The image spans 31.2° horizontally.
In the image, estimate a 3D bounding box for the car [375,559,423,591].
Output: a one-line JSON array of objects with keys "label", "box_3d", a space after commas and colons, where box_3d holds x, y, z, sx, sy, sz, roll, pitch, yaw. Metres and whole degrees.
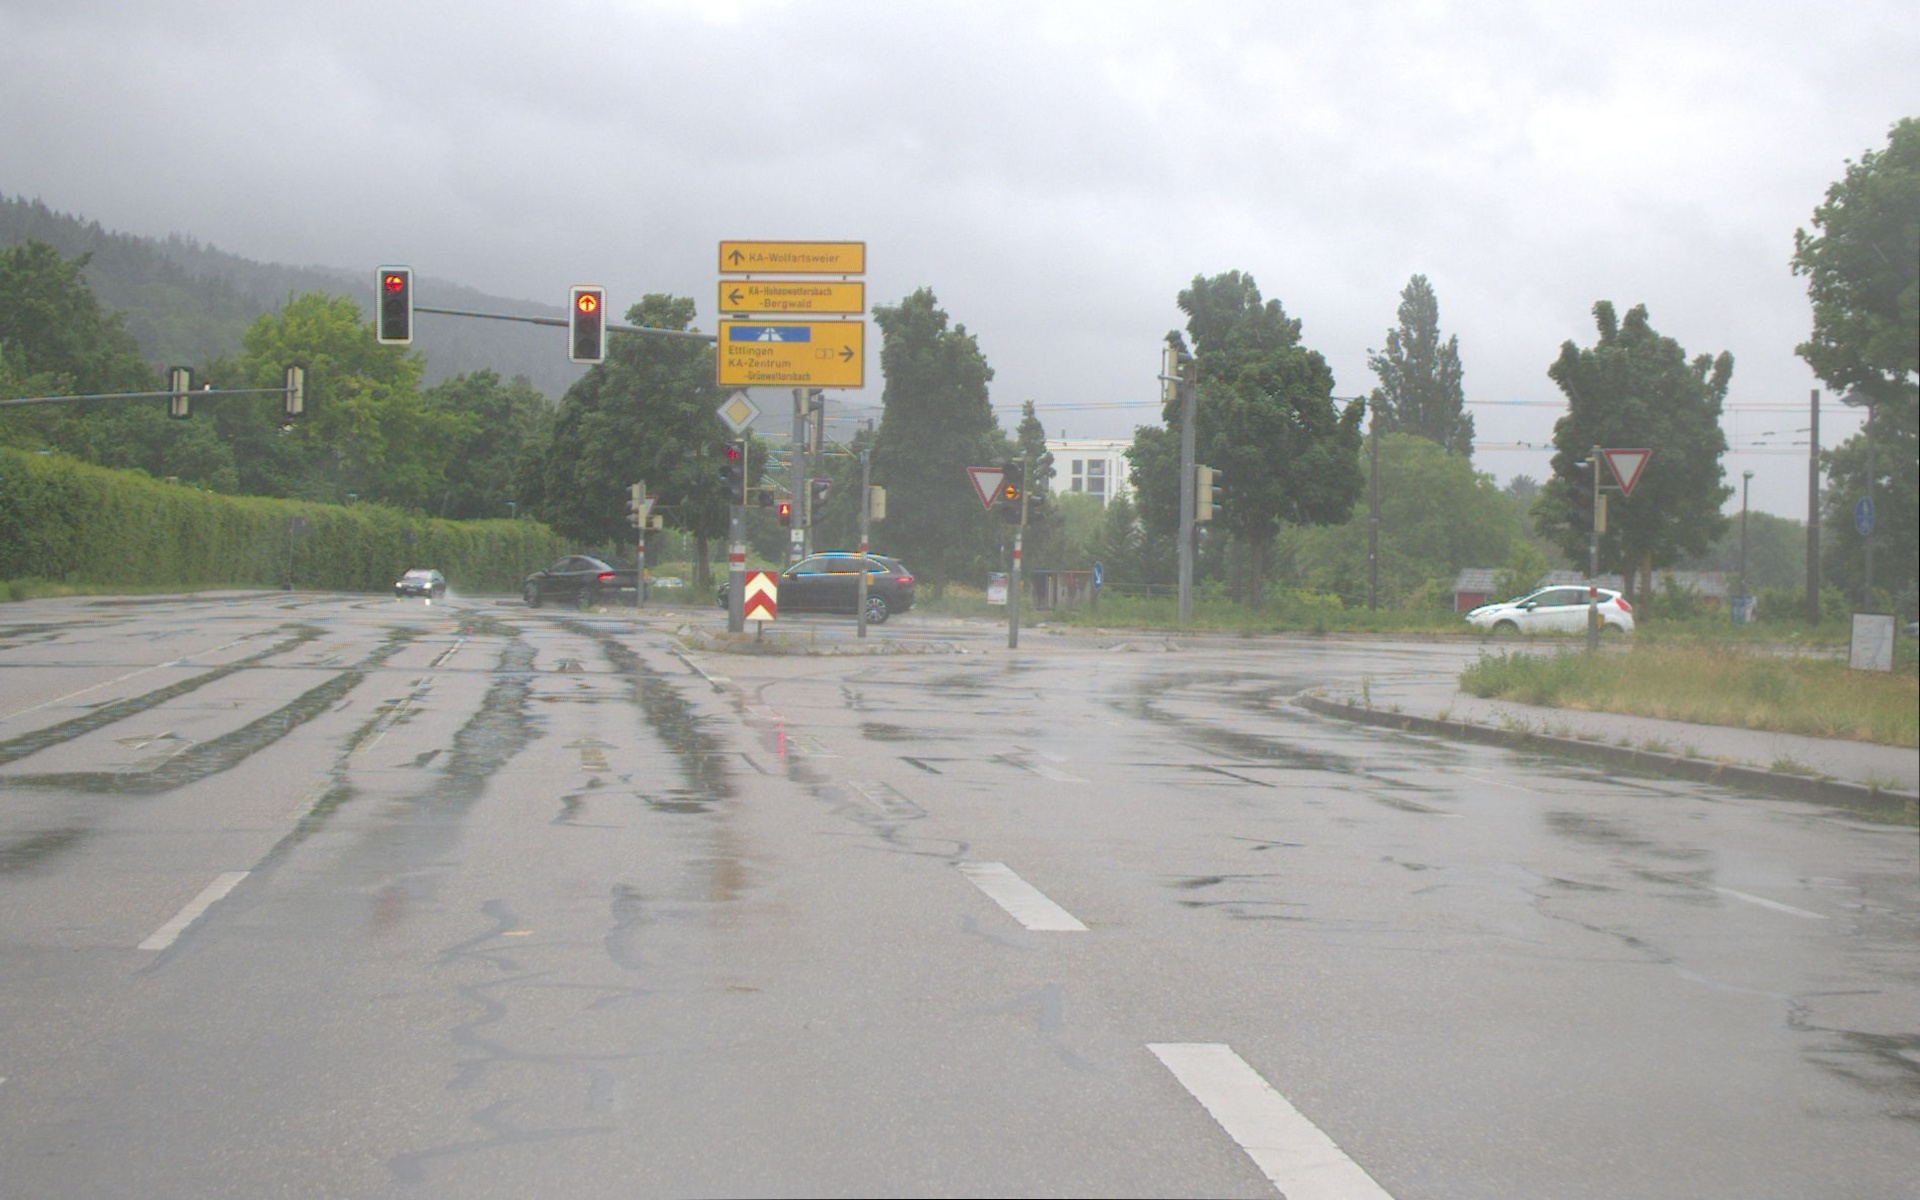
[{"label": "car", "box_3d": [-28.252, -1.282, 173.244, 1.878, 1.568, 4.645, -1, 1, -3]}]

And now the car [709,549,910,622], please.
[{"label": "car", "box_3d": [-3.557, -0.344, 81.142, 4.669, 1.633, 1.823, 1, 1, -3]}]

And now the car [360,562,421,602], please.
[{"label": "car", "box_3d": [-22.767, -0.737, 137.541, 1.878, 1.568, 4.645, -1, 1, -3]}]

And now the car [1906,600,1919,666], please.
[{"label": "car", "box_3d": [25.146, 0.819, 81.876, 4.669, 1.548, 1.823, 1, 1, -2]}]

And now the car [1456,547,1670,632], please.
[{"label": "car", "box_3d": [14.261, -0.260, 81.458, 4.669, 1.909, 1.915, 1, 1, -1]}]

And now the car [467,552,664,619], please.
[{"label": "car", "box_3d": [-9.595, -0.359, 83.893, 4.669, 1.548, 1.823, -1, 1, -3]}]
